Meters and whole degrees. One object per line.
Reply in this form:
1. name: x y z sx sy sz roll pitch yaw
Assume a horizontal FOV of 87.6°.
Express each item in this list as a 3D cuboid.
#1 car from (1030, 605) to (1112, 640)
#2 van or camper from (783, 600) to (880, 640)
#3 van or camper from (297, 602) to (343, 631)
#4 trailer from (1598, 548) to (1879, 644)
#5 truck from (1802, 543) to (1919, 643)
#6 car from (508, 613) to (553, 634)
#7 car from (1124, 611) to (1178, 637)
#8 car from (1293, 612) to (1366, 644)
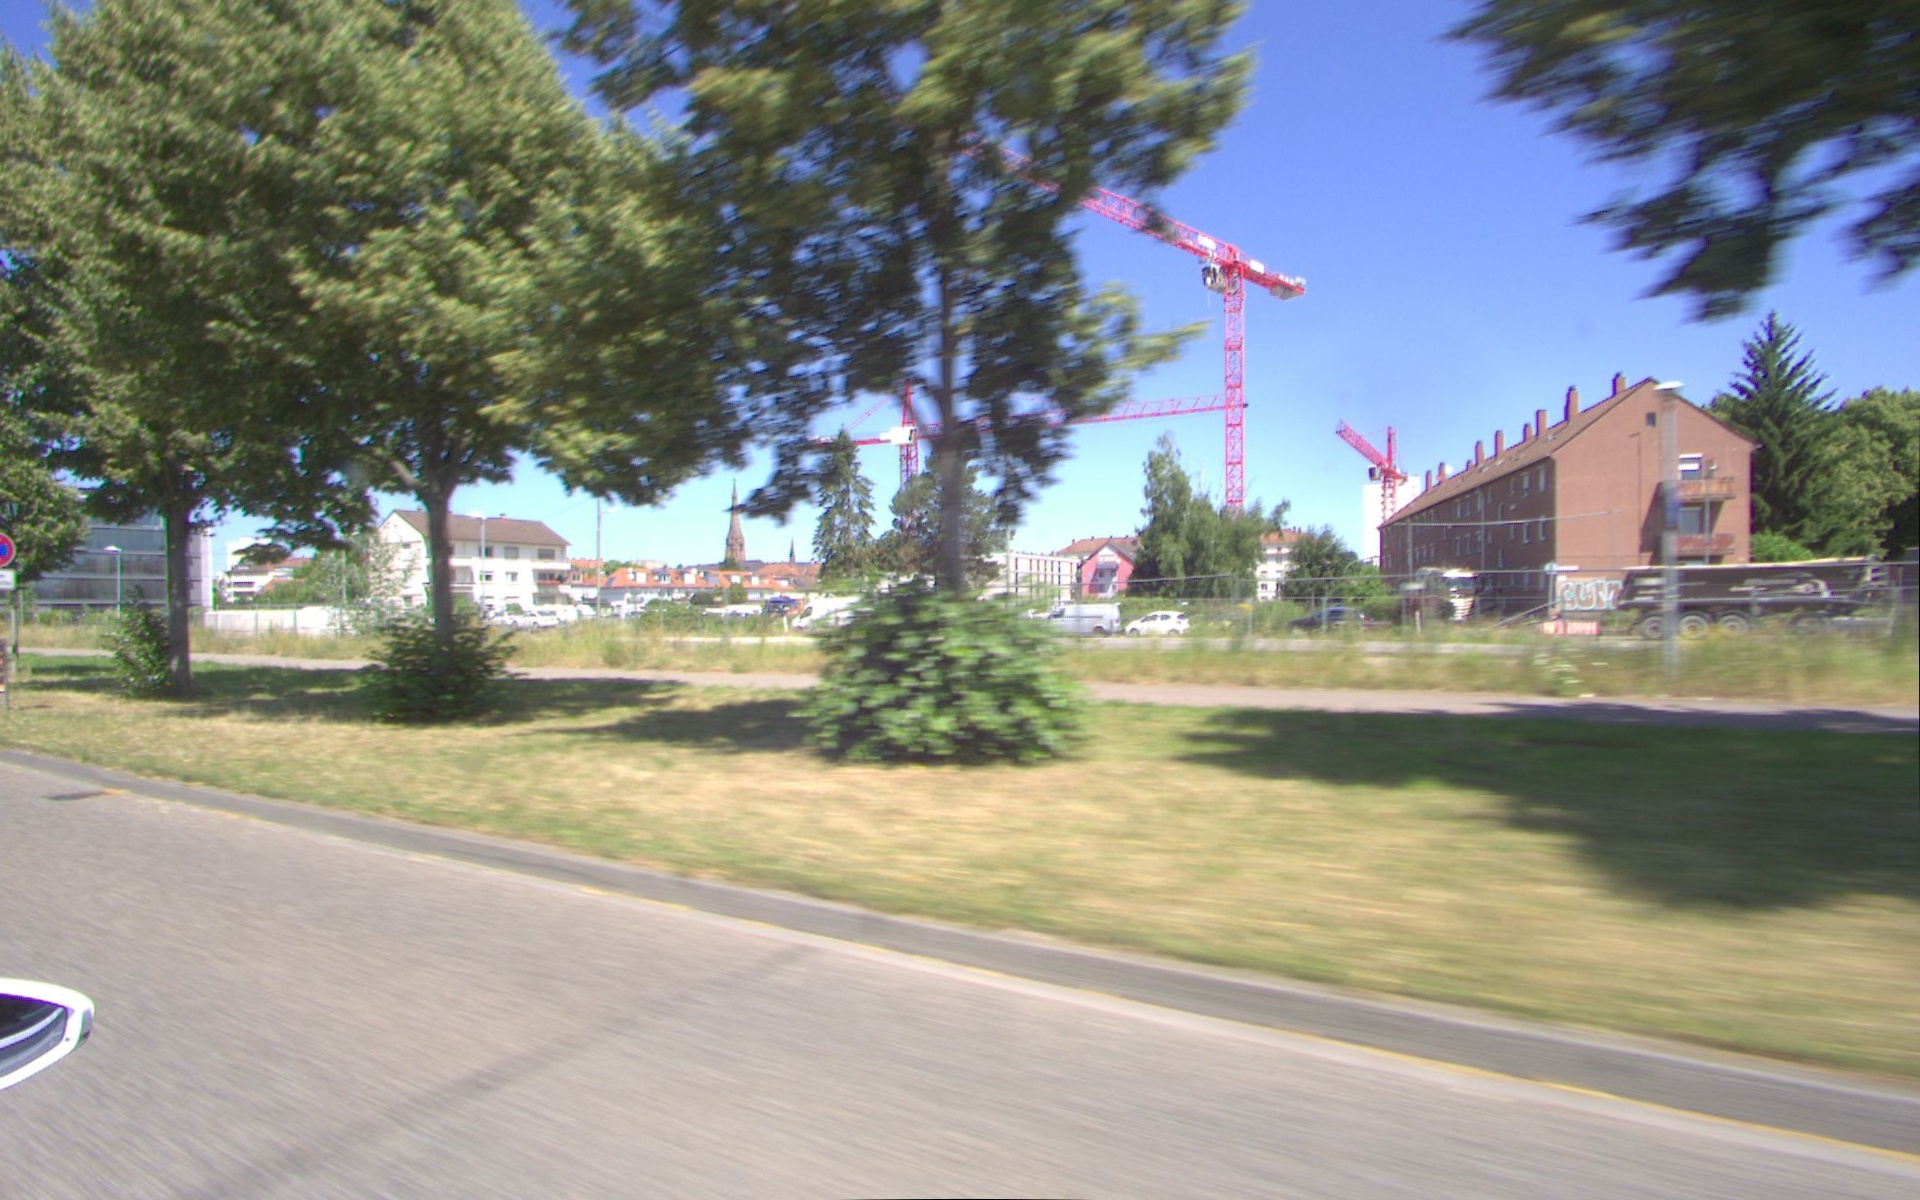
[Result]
1. car: 6.668 1.368 60.286 4.606 2.040 1.779 -1 0 25
2. van or camper: -8.882 1.373 68.999 6.899 2.636 1.921 -1 0 31
3. van or camper: -64.668 1.682 101.197 4.591 2.838 1.992 -1 -1 29
4. trailer: 31.802 -0.075 41.434 8.881 3.579 3.142 -1 -1 38
5. truck: 35.158 -0.221 37.353 3.117 3.579 4.942 0 -1 -28
6. car: -36.204 1.955 84.398 3.567 1.607 1.673 -2 0 29
7. car: 11.011 1.387 57.671 2.750 1.425 1.411 0 1 32
8. car: 19.257 1.447 52.283 3.370 1.634 1.363 -1 -1 33
